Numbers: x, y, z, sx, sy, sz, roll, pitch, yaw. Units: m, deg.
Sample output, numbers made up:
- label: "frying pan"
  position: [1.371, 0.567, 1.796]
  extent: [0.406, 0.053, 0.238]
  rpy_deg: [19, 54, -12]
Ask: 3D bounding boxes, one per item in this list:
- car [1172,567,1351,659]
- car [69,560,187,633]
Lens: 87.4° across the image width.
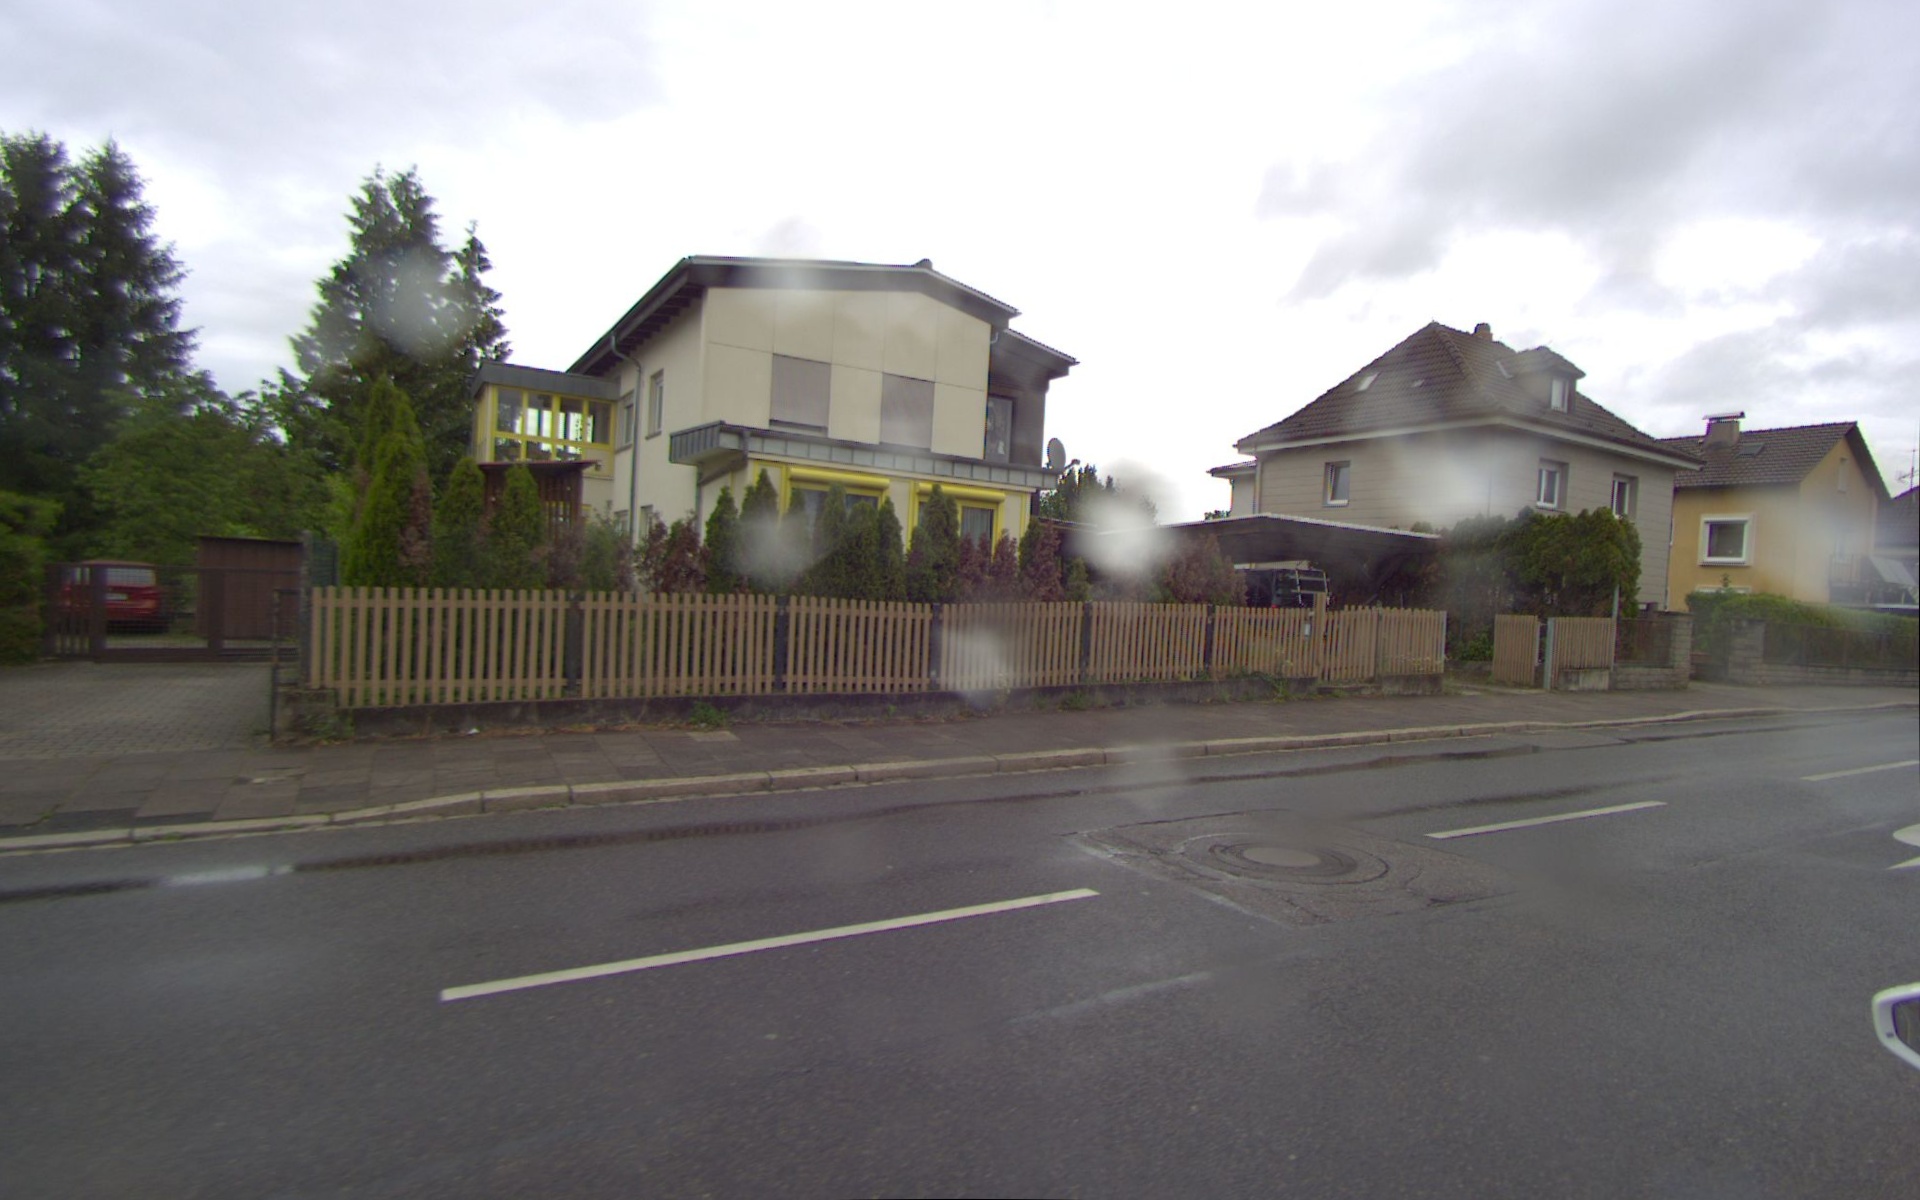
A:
- label: "car"
  position: [7.064, 0.318, 23.978]
  extent: [1.973, 1.980, 3.976]
  rpy_deg: [1, -1, -24]
- label: "car"
  position: [-17.442, -0.053, 21.175]
  extent: [1.482, 1.396, 3.047]
  rpy_deg: [1, -1, -32]
